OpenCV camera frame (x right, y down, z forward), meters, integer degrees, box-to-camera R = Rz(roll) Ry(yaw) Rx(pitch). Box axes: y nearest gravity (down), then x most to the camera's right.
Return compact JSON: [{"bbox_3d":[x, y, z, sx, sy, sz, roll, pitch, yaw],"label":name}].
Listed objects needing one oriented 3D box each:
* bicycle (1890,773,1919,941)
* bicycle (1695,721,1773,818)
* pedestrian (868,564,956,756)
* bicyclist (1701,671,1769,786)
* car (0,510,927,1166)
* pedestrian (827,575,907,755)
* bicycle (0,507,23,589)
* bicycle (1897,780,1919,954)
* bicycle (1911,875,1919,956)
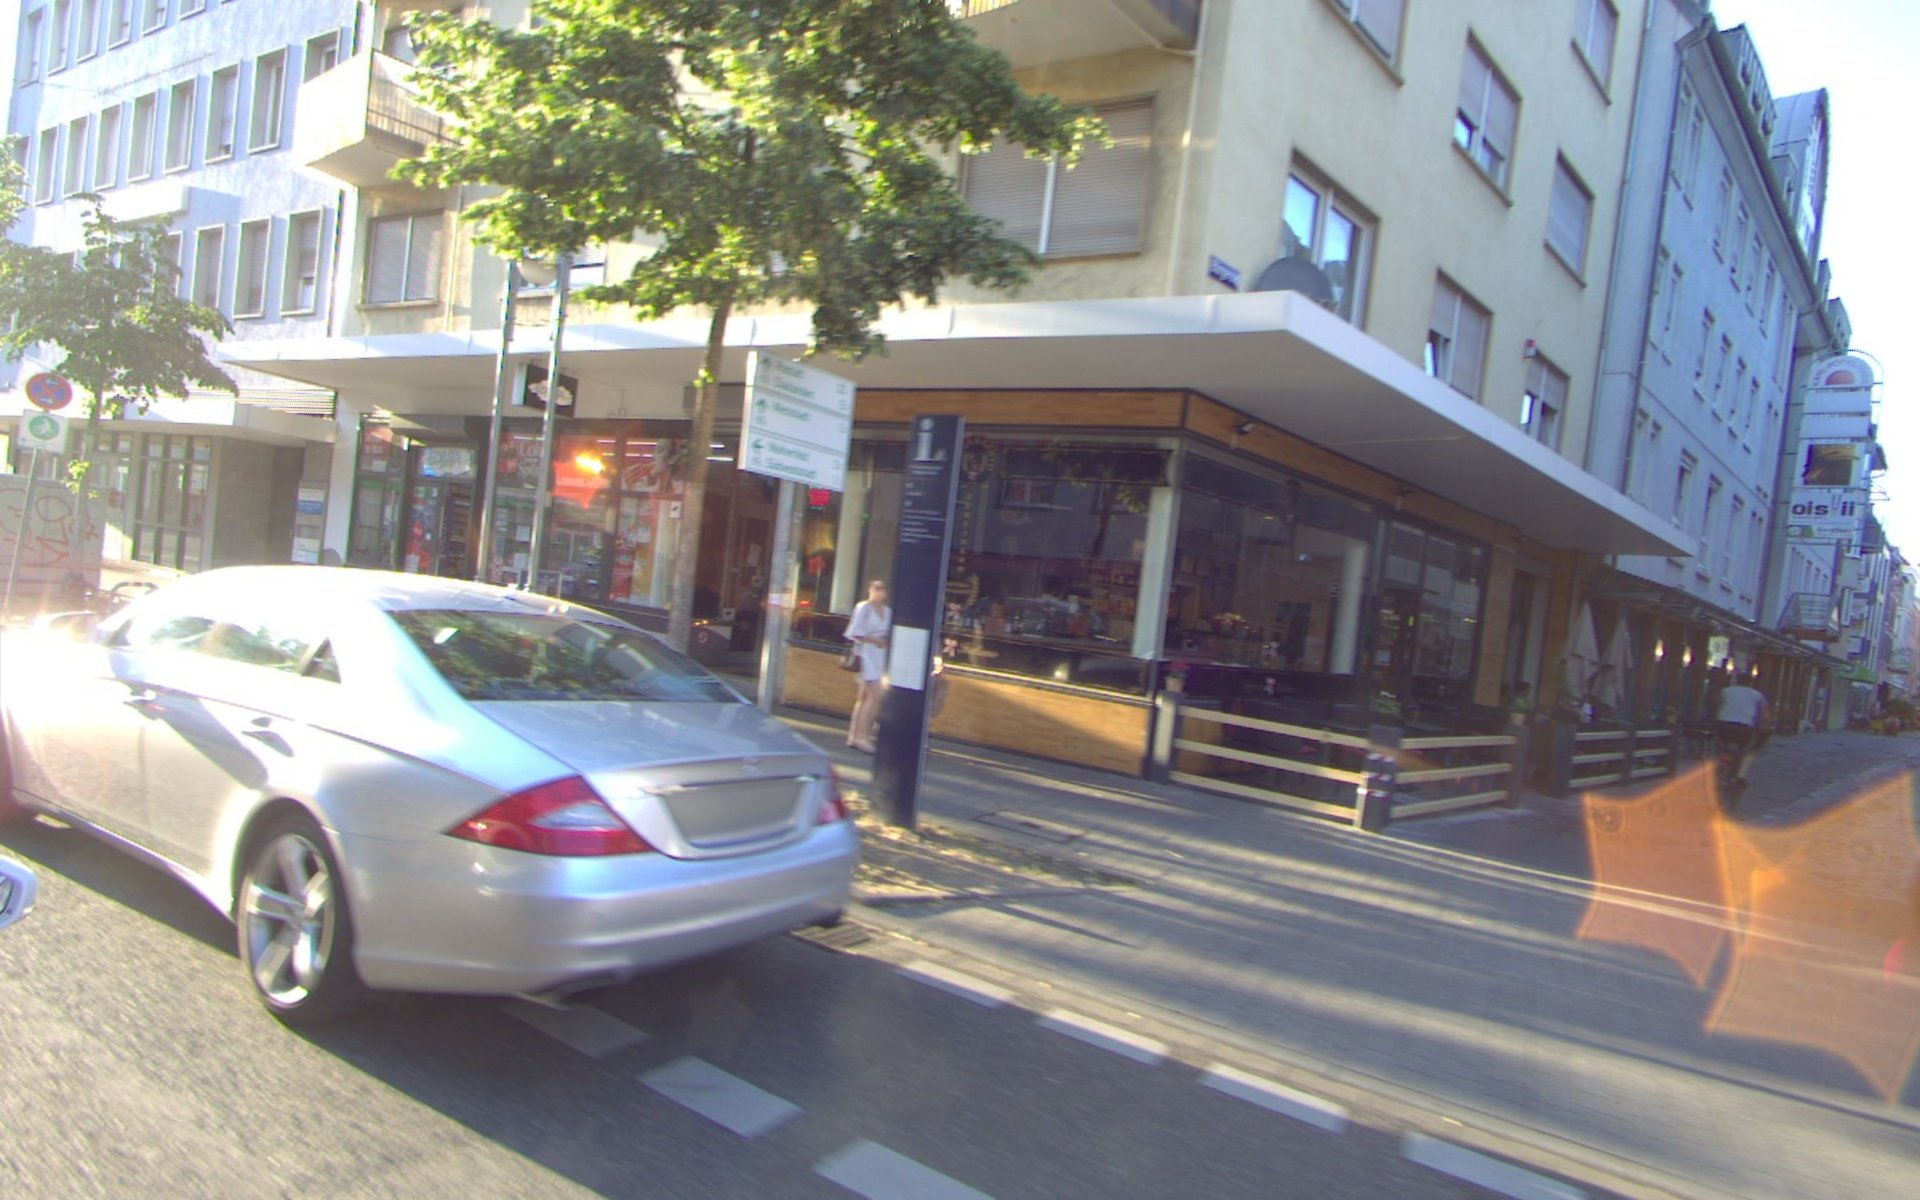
[{"bbox_3d":[7.400,1.863,6.549,1.848,1.118,0.321,7,1,31],"label":"bicycle"},{"bbox_3d":[10.501,2.267,13.619,0.459,1.161,1.968,10,2,44],"label":"bicycle"},{"bbox_3d":[-0.467,0.568,9.835,0.494,1.782,0.543,7,4,30],"label":"pedestrian"},{"bbox_3d":[10.519,1.736,13.649,0.714,1.453,0.456,6,3,-45],"label":"bicyclist"},{"bbox_3d":[-2.602,0.549,4.416,4.561,1.417,1.746,7,-1,30],"label":"car"},{"bbox_3d":[-0.869,0.595,9.432,0.401,1.615,0.519,7,4,30],"label":"pedestrian"},{"bbox_3d":[-15.311,-0.879,15.280,0.377,1.234,1.443,7,-1,32],"label":"bicycle"},{"bbox_3d":[7.154,1.854,6.232,1.856,1.118,0.291,7,1,31],"label":"bicycle"},{"bbox_3d":[7.000,1.811,5.970,1.848,1.118,0.321,7,1,31],"label":"bicycle"}]
